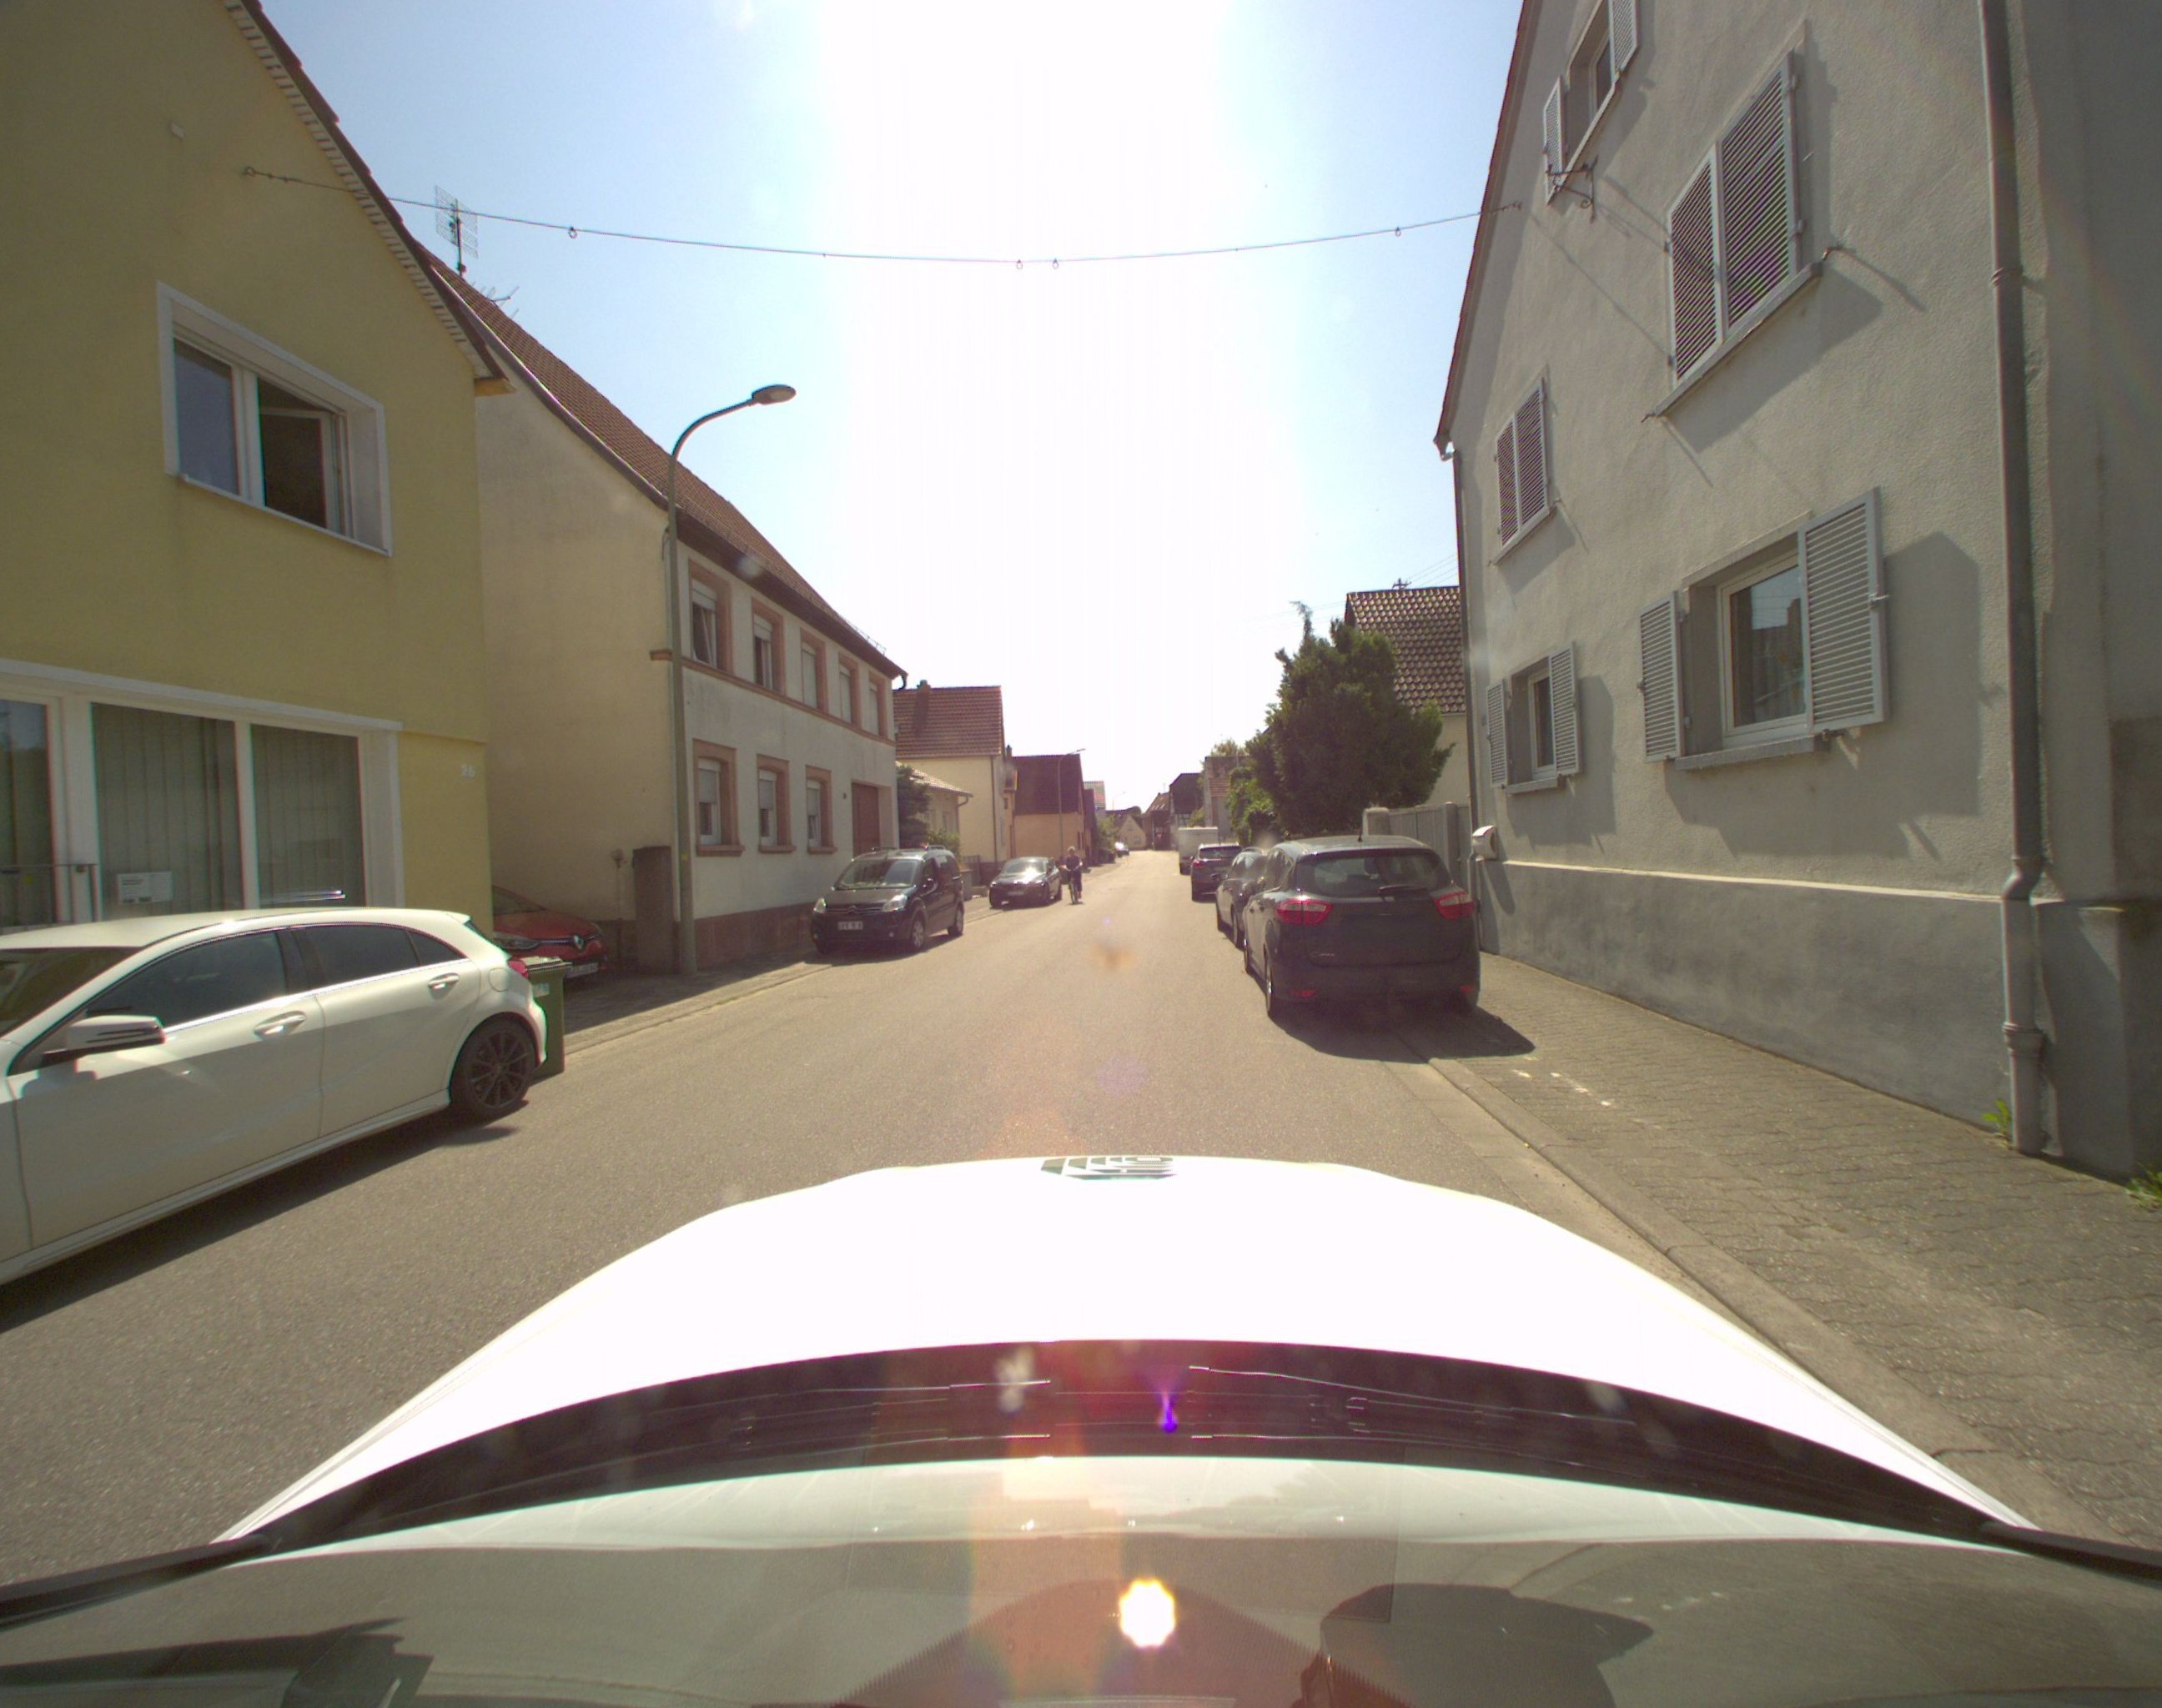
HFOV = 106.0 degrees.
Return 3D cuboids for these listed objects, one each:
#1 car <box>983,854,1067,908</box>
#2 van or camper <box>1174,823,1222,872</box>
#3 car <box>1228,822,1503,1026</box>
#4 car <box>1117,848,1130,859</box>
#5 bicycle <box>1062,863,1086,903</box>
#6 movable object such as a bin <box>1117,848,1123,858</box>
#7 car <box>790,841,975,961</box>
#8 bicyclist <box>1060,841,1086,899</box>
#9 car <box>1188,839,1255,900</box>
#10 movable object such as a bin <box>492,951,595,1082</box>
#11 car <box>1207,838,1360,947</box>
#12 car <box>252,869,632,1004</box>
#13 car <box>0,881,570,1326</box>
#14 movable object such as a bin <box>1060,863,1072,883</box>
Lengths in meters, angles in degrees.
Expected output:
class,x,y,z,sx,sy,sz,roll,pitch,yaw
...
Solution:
class,x,y,z,sx,sy,sz,roll,pitch,yaw
car,-1.733,0.826,26.924,1.834,1.526,4.774,-2,0,7
van or camper,6.972,-0.372,48.910,2.509,2.696,4.562,-3,0,5
car,2.678,0.554,8.820,1.788,1.560,4.640,-3,0,7
car,5.865,-0.123,112.574,1.504,1.436,3.517,-4,0,6
bicycle,-0.201,0.902,25.991,0.587,1.148,1.950,-4,0,3
movable object such as a bin,4.798,-0.135,100.399,0.685,1.185,0.715,-4,0,6
car,-3.470,0.738,15.211,1.825,1.837,4.362,-3,0,7
bicyclist,-0.244,0.504,25.970,0.701,1.771,0.625,-3,0,2
car,4.338,0.417,25.223,1.783,1.631,4.373,-3,1,9
movable object such as a bin,-4.219,1.253,6.404,0.421,0.904,0.499,-2,0,24
car,3.282,0.544,14.074,1.811,1.508,4.588,-3,0,5
car,-8.087,1.019,10.474,3.724,1.458,1.679,-2,0,9
car,-4.747,0.996,3.763,1.827,1.464,4.274,-3,0,3
movable object such as a bin,-0.792,0.977,42.012,0.536,0.949,0.554,-2,0,6
